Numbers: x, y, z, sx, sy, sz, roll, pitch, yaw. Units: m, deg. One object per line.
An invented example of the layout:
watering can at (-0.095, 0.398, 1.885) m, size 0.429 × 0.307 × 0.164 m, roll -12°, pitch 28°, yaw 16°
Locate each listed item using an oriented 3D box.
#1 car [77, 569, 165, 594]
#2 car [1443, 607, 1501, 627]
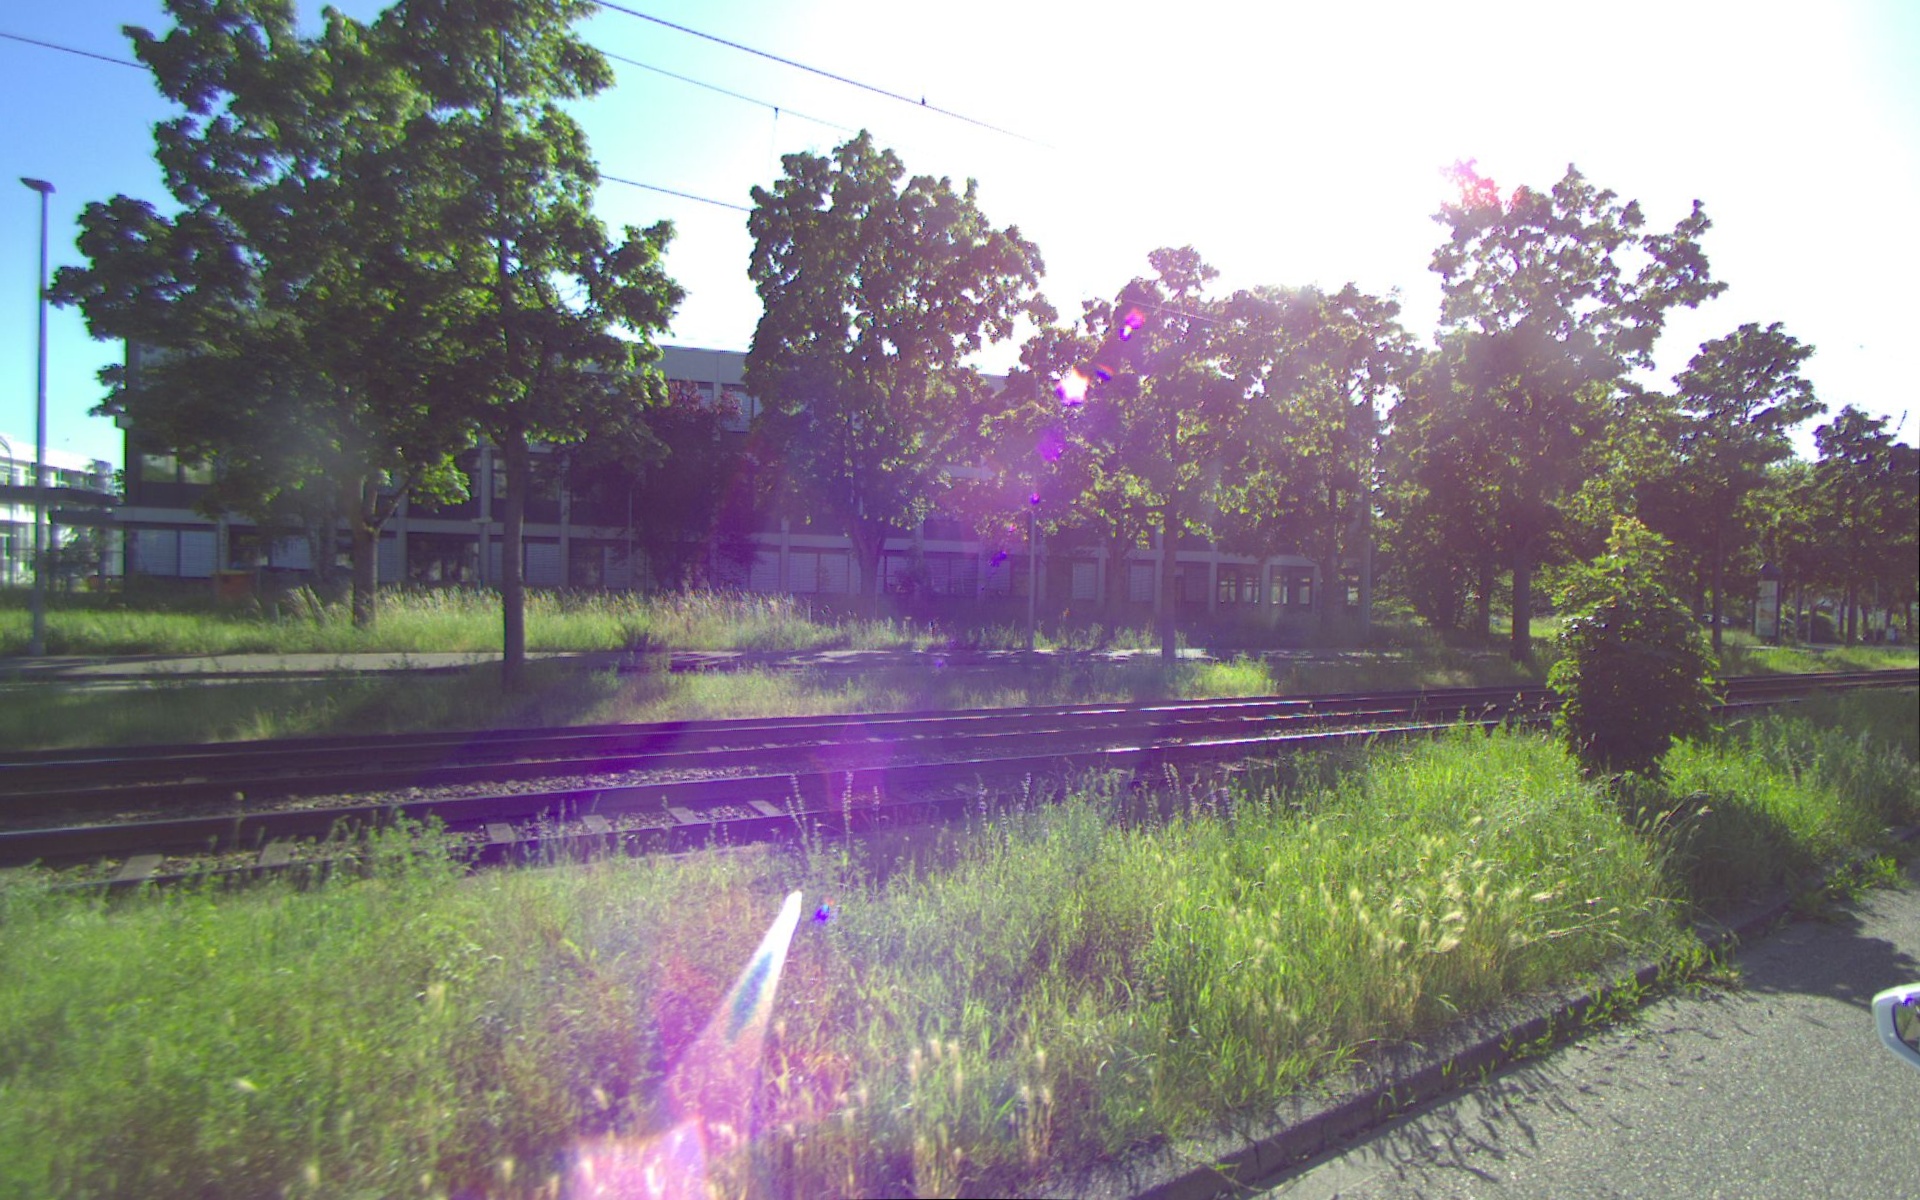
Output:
car at (-46.994, -1.031, 56.372) m, size 1.815 × 1.284 × 4.539 m, roll 2°, pitch 1°, yaw -12°
car at (44.902, 1.496, 88.150) m, size 4.354 × 1.662 × 1.985 m, roll 1°, pitch 0°, yaw 32°
